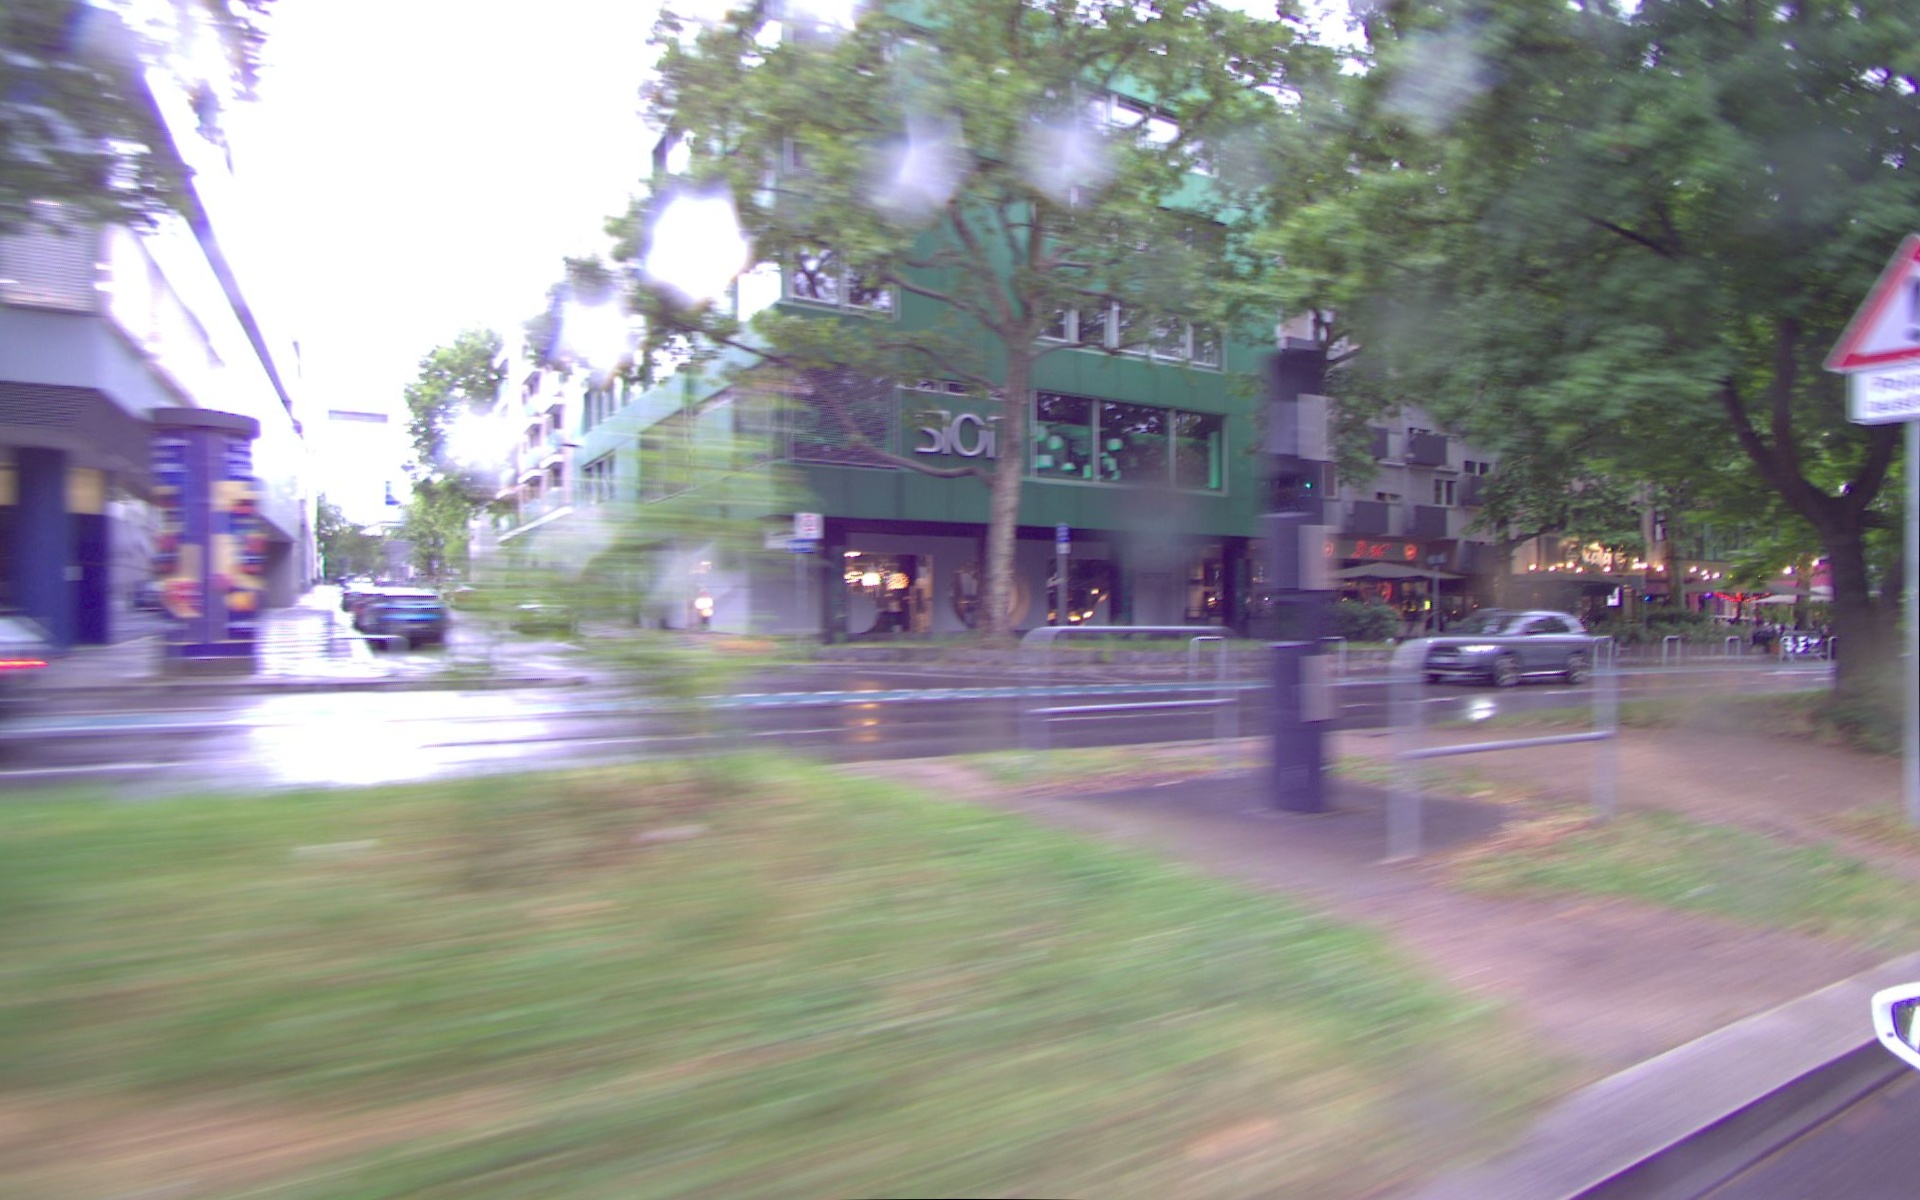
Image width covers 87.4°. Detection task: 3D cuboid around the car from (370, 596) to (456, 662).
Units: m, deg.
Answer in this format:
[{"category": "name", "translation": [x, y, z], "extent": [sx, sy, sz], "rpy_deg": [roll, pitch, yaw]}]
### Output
[{"category": "car", "translation": [-15.653, 0.796, 28.803], "extent": [1.976, 1.714, 4.967], "rpy_deg": [2, -1, -29]}]

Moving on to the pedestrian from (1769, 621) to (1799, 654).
[{"category": "pedestrian", "translation": [35.507, 1.598, 43.273], "extent": [0.923, 1.398, 0.758], "rpy_deg": [1, 0, -33]}]

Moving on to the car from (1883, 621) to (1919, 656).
[{"category": "car", "translation": [42.498, 1.689, 43.879], "extent": [4.487, 1.388, 1.983], "rpy_deg": [1, 2, -31]}]

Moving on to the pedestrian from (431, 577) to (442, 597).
[{"category": "pedestrian", "translation": [-44.345, -1.084, 85.123], "extent": [0.549, 1.636, 0.565], "rpy_deg": [2, 0, 13]}]

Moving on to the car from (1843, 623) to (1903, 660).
[{"category": "car", "translation": [36.360, 1.632, 39.987], "extent": [2.662, 1.406, 1.045], "rpy_deg": [1, -1, -30]}]

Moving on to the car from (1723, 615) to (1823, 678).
[{"category": "car", "translation": [23.525, 1.265, 28.999], "extent": [4.410, 1.648, 1.702], "rpy_deg": [1, 0, -44]}]

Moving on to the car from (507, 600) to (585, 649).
[{"category": "car", "translation": [-15.464, 0.866, 37.413], "extent": [1.979, 1.706, 3.963], "rpy_deg": [1, 0, -33]}]

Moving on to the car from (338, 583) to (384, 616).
[{"category": "car", "translation": [-32.486, -0.028, 54.449], "extent": [1.979, 1.706, 3.963], "rpy_deg": [1, 0, -33]}]

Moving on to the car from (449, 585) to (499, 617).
[{"category": "car", "translation": [-27.158, 0.034, 56.050], "extent": [1.979, 1.706, 3.963], "rpy_deg": [1, 0, -33]}]

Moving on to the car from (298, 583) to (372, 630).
[{"category": "car", "translation": [-22.625, 0.260, 36.527], "extent": [1.976, 1.561, 4.967], "rpy_deg": [1, -1, -29]}]

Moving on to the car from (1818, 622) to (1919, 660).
[{"category": "car", "translation": [36.559, 1.628, 40.383], "extent": [4.431, 1.413, 1.816], "rpy_deg": [1, 0, -31]}]

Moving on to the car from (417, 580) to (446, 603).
[{"category": "car", "translation": [-39.975, -0.661, 75.936], "extent": [1.686, 1.591, 3.823], "rpy_deg": [2, 0, -32]}]

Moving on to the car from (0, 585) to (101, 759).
[{"category": "car", "translation": [-10.599, 0.598, 8.522], "extent": [4.699, 1.512, 1.984], "rpy_deg": [1, 0, -30]}]
